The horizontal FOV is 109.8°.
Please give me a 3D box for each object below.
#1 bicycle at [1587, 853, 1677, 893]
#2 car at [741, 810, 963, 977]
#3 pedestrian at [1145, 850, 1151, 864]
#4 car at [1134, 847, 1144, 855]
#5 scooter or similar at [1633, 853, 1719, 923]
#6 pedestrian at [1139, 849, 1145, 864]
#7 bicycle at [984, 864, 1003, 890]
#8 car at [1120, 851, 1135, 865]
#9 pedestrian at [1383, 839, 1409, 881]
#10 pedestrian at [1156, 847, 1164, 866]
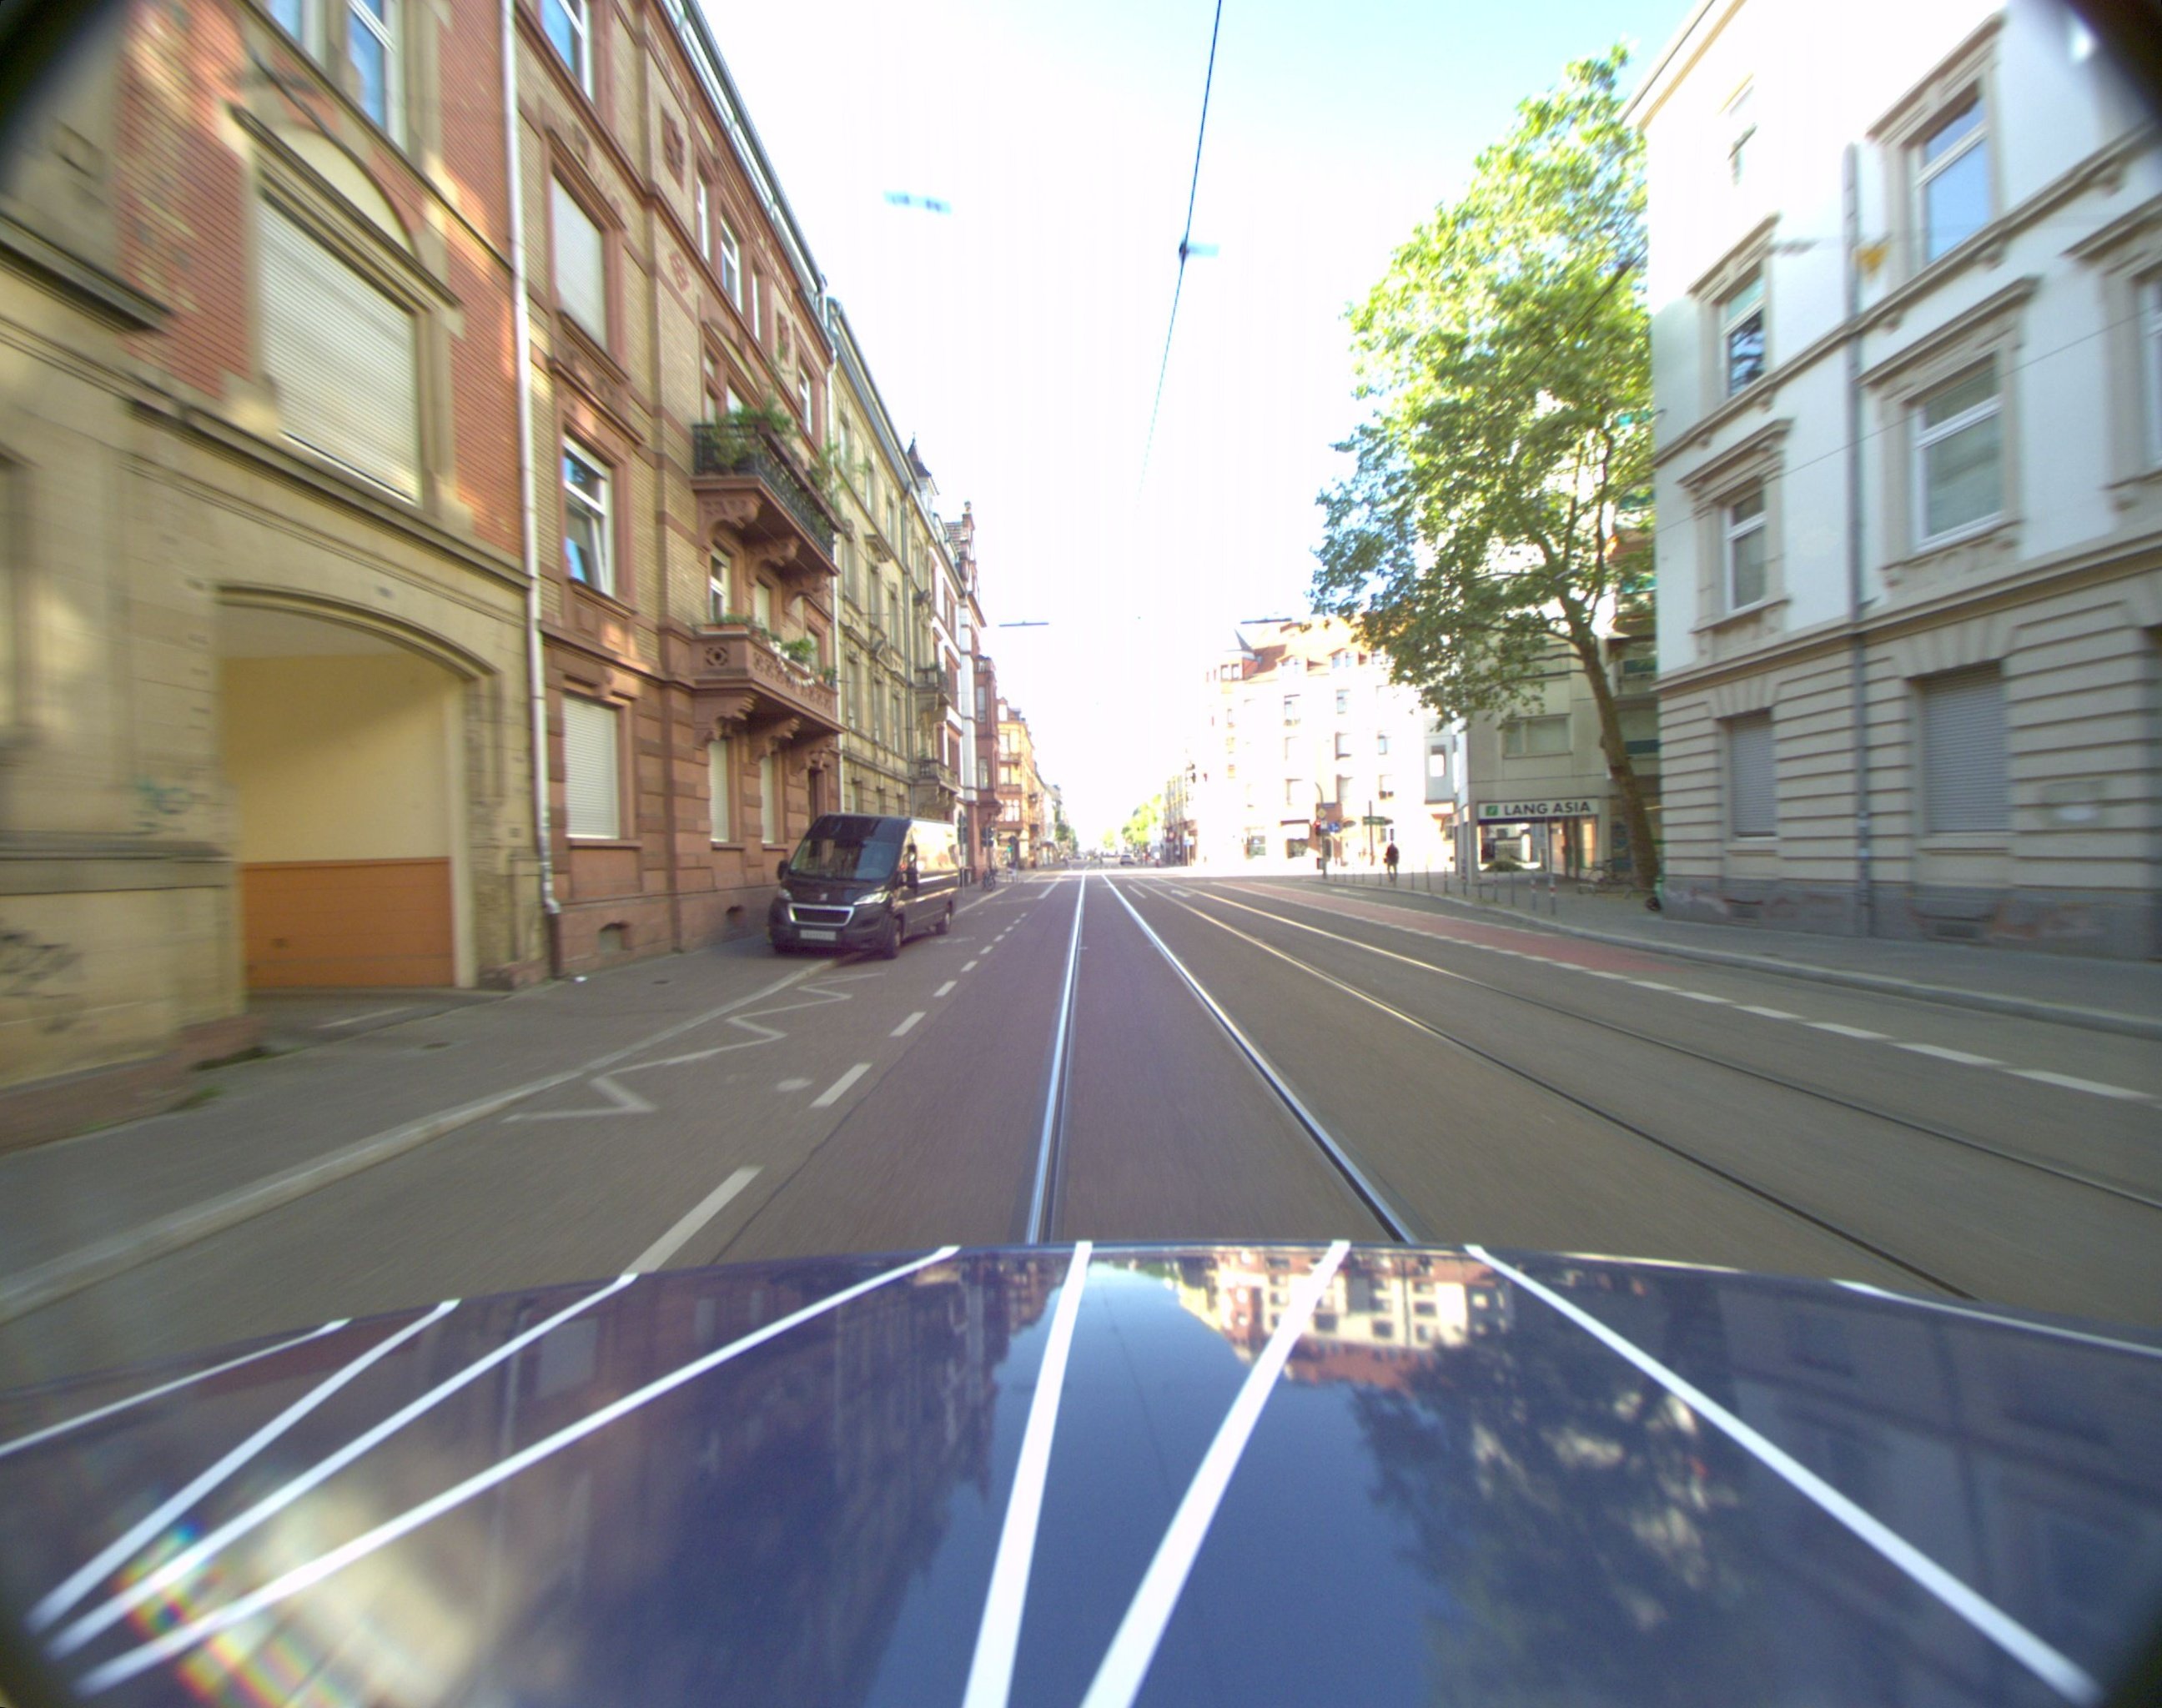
[{"bbox_3d":[16.182,0.566,22.375,2.042,1.119,0.707,-2,1,28],"label":"bicycle"},{"bbox_3d":[-3.950,0.573,14.525,2.128,2.478,5.856,-3,1,3],"label":"car"},{"bbox_3d":[10.069,0.429,114.844,0.756,2.002,0.718,-3,1,0],"label":"pedestrian"},{"bbox_3d":[12.068,-0.627,158.907,1.719,1.696,4.000,-1,0,0],"label":"car"},{"bbox_3d":[11.569,0.632,14.824,0.580,1.267,1.383,-3,1,0],"label":"scooter or similar"},{"bbox_3d":[8.834,0.361,110.452,0.756,2.002,0.718,-3,1,0],"label":"pedestrian"},{"bbox_3d":[-4.093,1.077,35.500,0.647,1.143,1.688,-1,0,0],"label":"bicycle"},{"bbox_3d":[7.222,0.628,118.112,1.998,2.002,4.000,-1,0,0],"label":"car"},{"bbox_3d":[14.065,0.267,33.935,0.795,1.837,0.809,-2,1,4],"label":"pedestrian"},{"bbox_3d":[8.458,0.219,81.404,0.756,2.002,0.718,-3,1,0],"label":"pedestrian"}]
